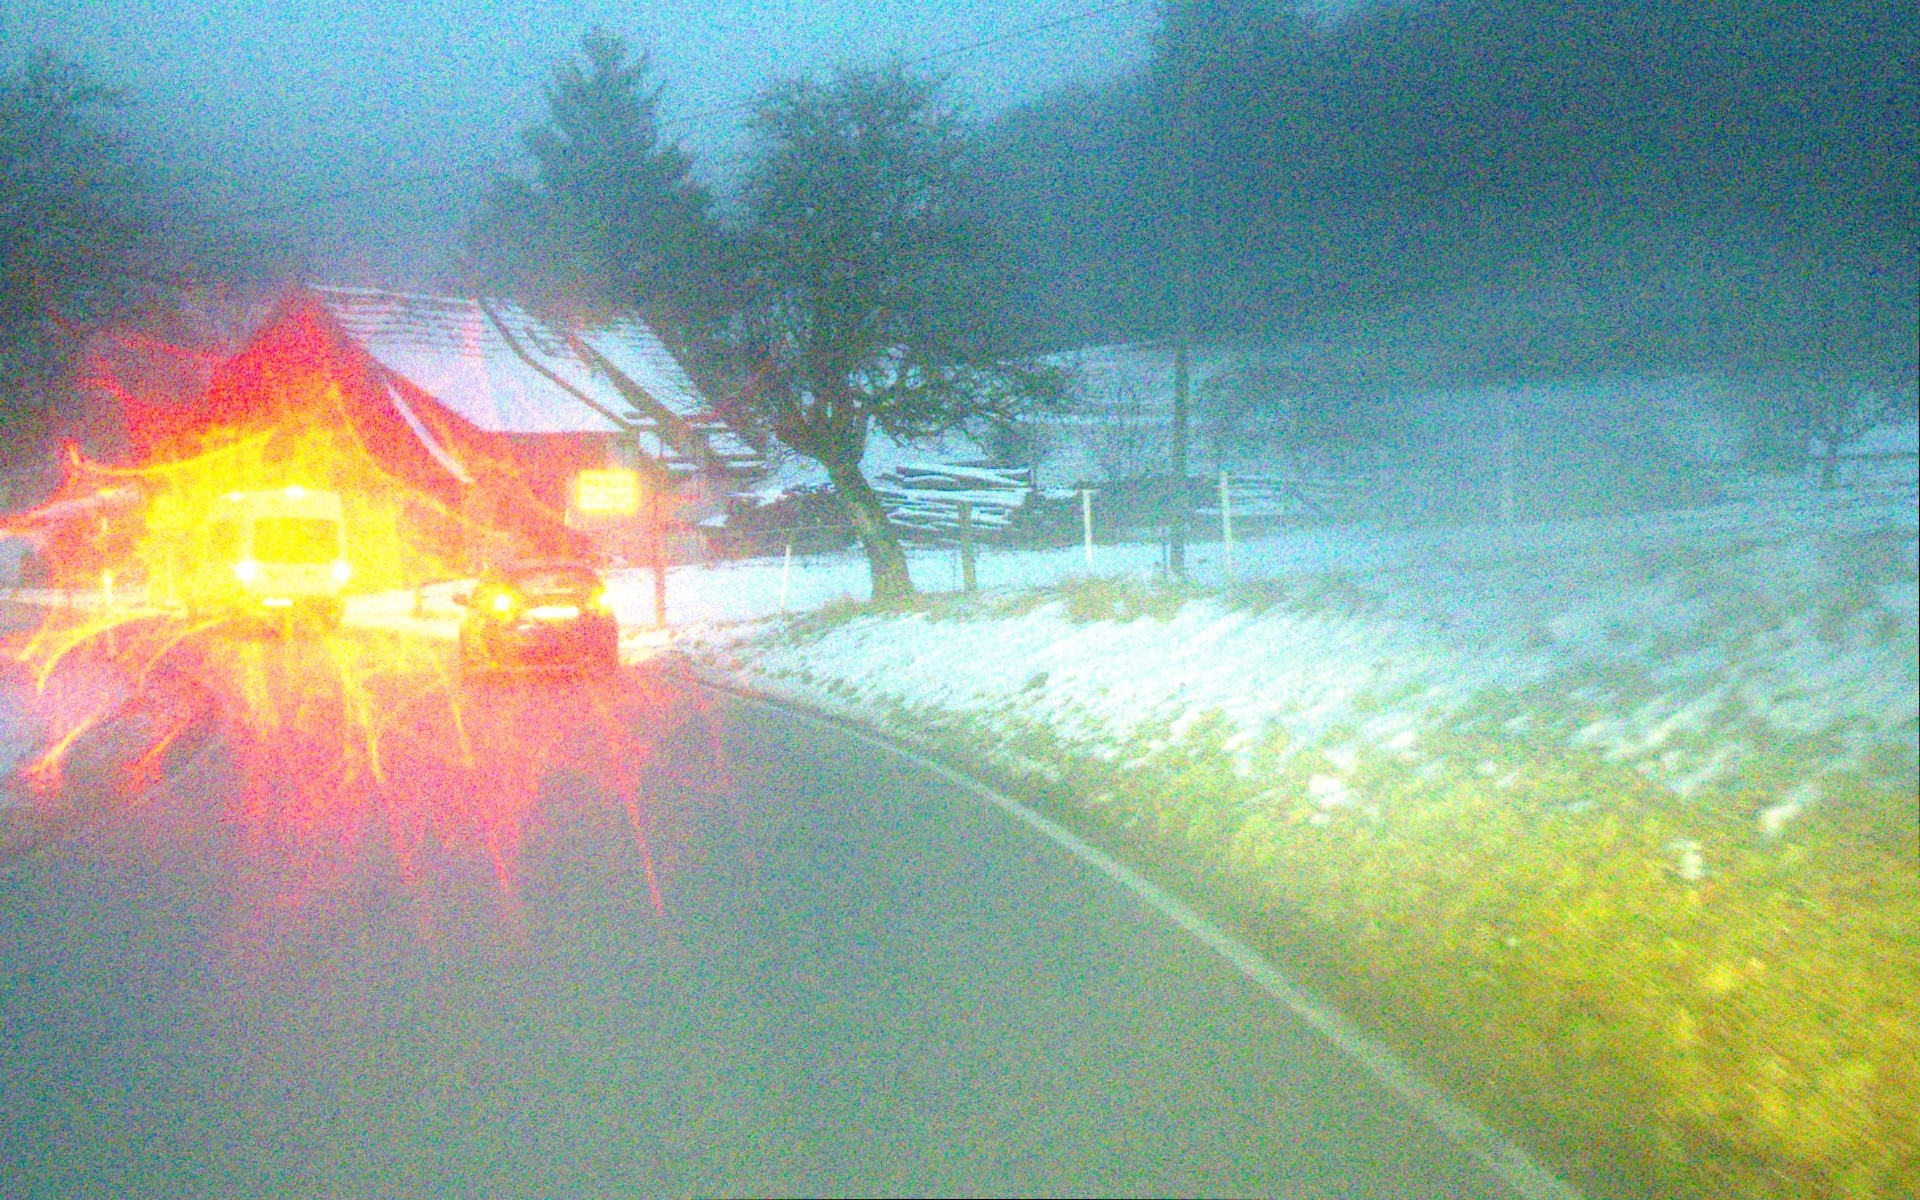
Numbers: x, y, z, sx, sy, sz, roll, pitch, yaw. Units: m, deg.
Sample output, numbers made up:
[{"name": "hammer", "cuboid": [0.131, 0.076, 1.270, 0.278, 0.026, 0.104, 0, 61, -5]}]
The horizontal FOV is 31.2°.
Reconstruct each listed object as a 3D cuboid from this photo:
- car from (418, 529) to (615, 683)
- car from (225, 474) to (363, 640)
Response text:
[{"name": "car", "cuboid": [-5.876, 0.069, 45.028, 2.273, 1.834, 5.008, -2, 0, -10]}, {"name": "car", "cuboid": [-12.692, -0.786, 65.296, 2.434, 3.008, 5.326, -1, 0, -12]}]
